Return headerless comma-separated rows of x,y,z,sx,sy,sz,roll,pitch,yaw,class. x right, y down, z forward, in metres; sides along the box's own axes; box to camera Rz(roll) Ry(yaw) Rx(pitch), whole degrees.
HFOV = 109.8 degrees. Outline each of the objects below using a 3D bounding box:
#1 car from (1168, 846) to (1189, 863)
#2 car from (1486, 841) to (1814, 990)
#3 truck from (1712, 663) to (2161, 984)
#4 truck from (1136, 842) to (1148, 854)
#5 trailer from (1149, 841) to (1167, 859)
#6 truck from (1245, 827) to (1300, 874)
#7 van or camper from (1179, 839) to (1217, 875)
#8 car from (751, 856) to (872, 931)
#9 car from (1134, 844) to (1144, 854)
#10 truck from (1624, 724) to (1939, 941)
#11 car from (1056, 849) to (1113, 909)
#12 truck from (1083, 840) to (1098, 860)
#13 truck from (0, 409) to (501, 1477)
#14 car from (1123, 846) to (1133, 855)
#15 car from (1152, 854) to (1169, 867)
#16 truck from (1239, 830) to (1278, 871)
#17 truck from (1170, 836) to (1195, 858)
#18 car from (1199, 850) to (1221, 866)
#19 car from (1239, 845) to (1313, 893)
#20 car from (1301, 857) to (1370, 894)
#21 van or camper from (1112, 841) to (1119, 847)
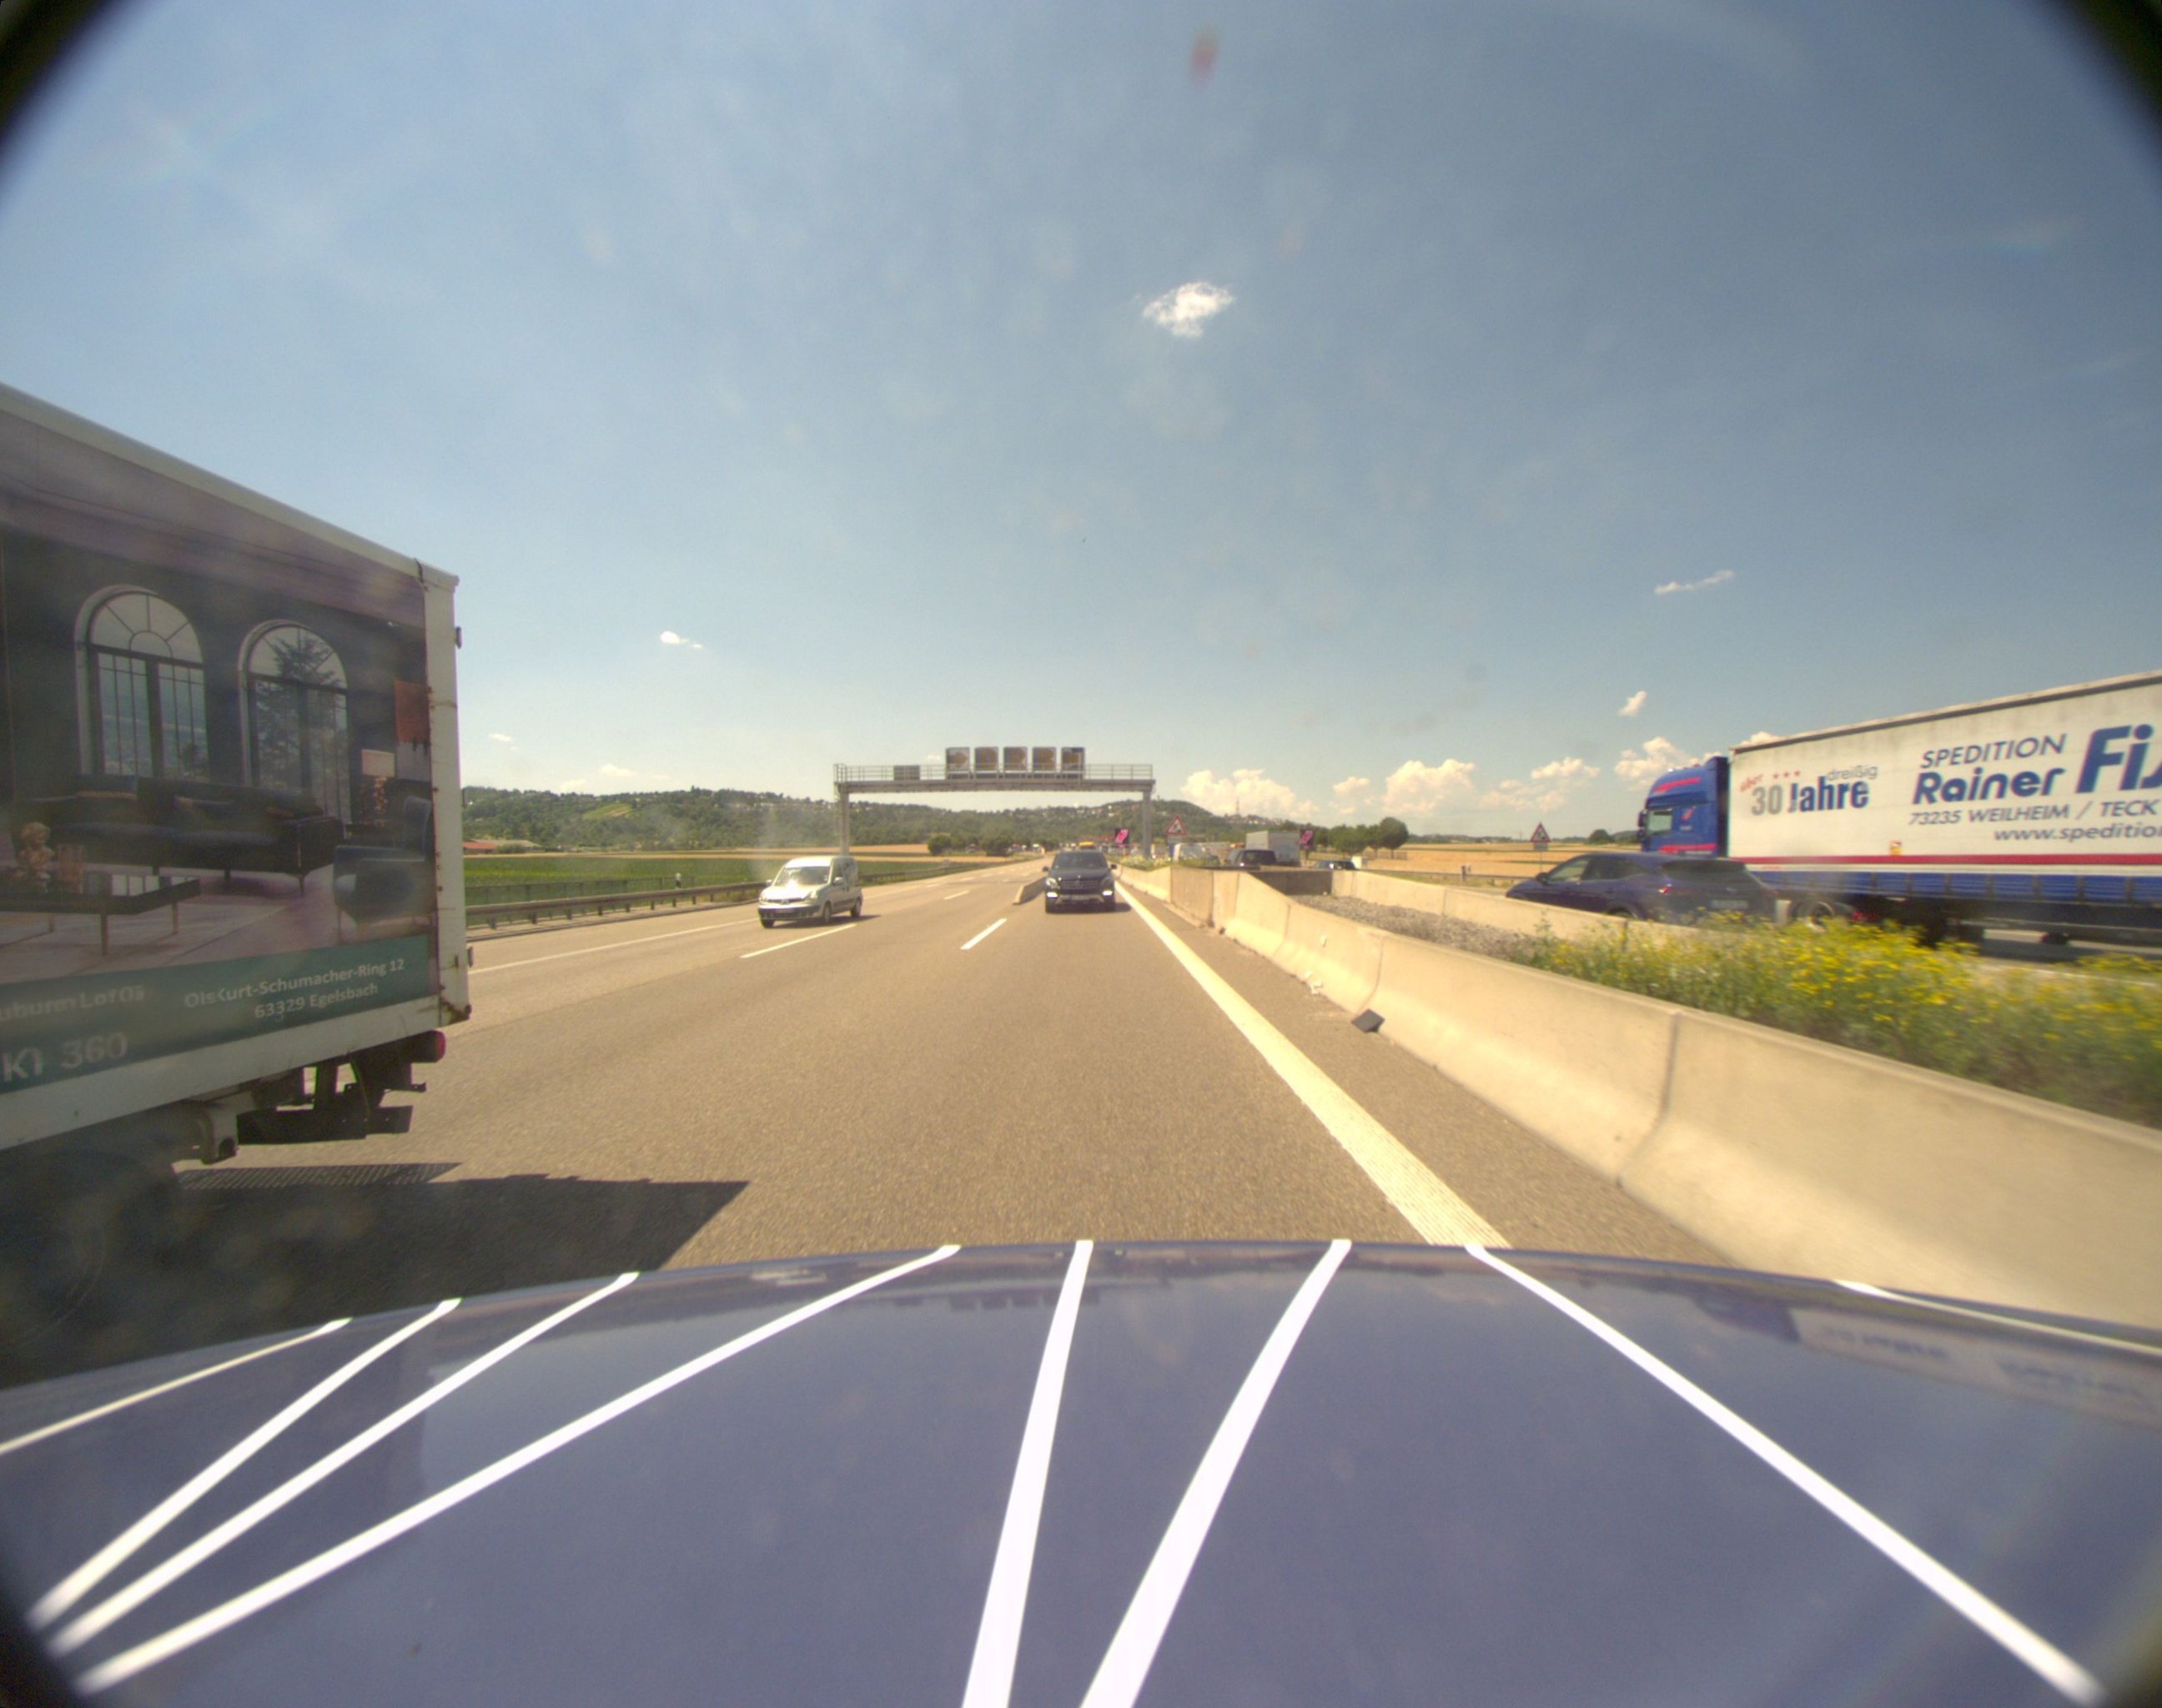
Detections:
11.616,0.080,90.497,1.998,1.911,4.460,-2,0,2,car
8.626,0.786,12.187,1.818,1.934,4.614,0,0,0,car
15.497,-0.368,9.989,2.599,4.214,14.121,2,0,1,truck
18.328,-1.782,229.250,2.801,3.589,13.288,1,1,1,truck
17.670,-0.905,174.504,2.817,4.104,14.129,0,0,0,trailer
16.019,-0.288,64.228,2.706,3.599,8.787,1,0,2,truck
8.691,0.201,56.776,2.153,2.613,4.397,0,1,0,van or camper
-6.991,0.957,20.154,1.630,1.727,3.973,-2,0,1,car
15.281,-1.262,199.910,2.052,2.486,5.811,0,0,0,car
15.585,-0.435,17.450,2.599,4.214,4.854,2,1,0,truck
0.137,0.737,24.201,1.630,1.711,3.865,-1,0,1,car
1.643,-0.777,128.989,2.272,3.139,8.185,-2,1,1,truck
-4.270,0.267,0.581,2.326,3.049,6.751,-2,0,0,truck
9.841,-0.737,158.903,1.899,1.569,4.935,-2,1,0,car
9.408,0.736,90.317,1.563,1.561,3.704,-1,0,0,car
16.186,-0.293,69.548,2.704,3.566,4.000,1,0,2,truck
17.100,-1.129,128.790,2.983,3.587,9.993,-1,0,0,truck
12.711,0.376,75.068,1.563,1.433,3.837,1,0,0,car
8.399,0.606,33.204,1.998,1.934,4.794,0,0,0,car
12.156,0.994,36.559,1.894,1.645,4.095,0,0,0,car
12.193,-3.450,266.703,2.040,2.208,7.207,-2,0,0,van or camper
